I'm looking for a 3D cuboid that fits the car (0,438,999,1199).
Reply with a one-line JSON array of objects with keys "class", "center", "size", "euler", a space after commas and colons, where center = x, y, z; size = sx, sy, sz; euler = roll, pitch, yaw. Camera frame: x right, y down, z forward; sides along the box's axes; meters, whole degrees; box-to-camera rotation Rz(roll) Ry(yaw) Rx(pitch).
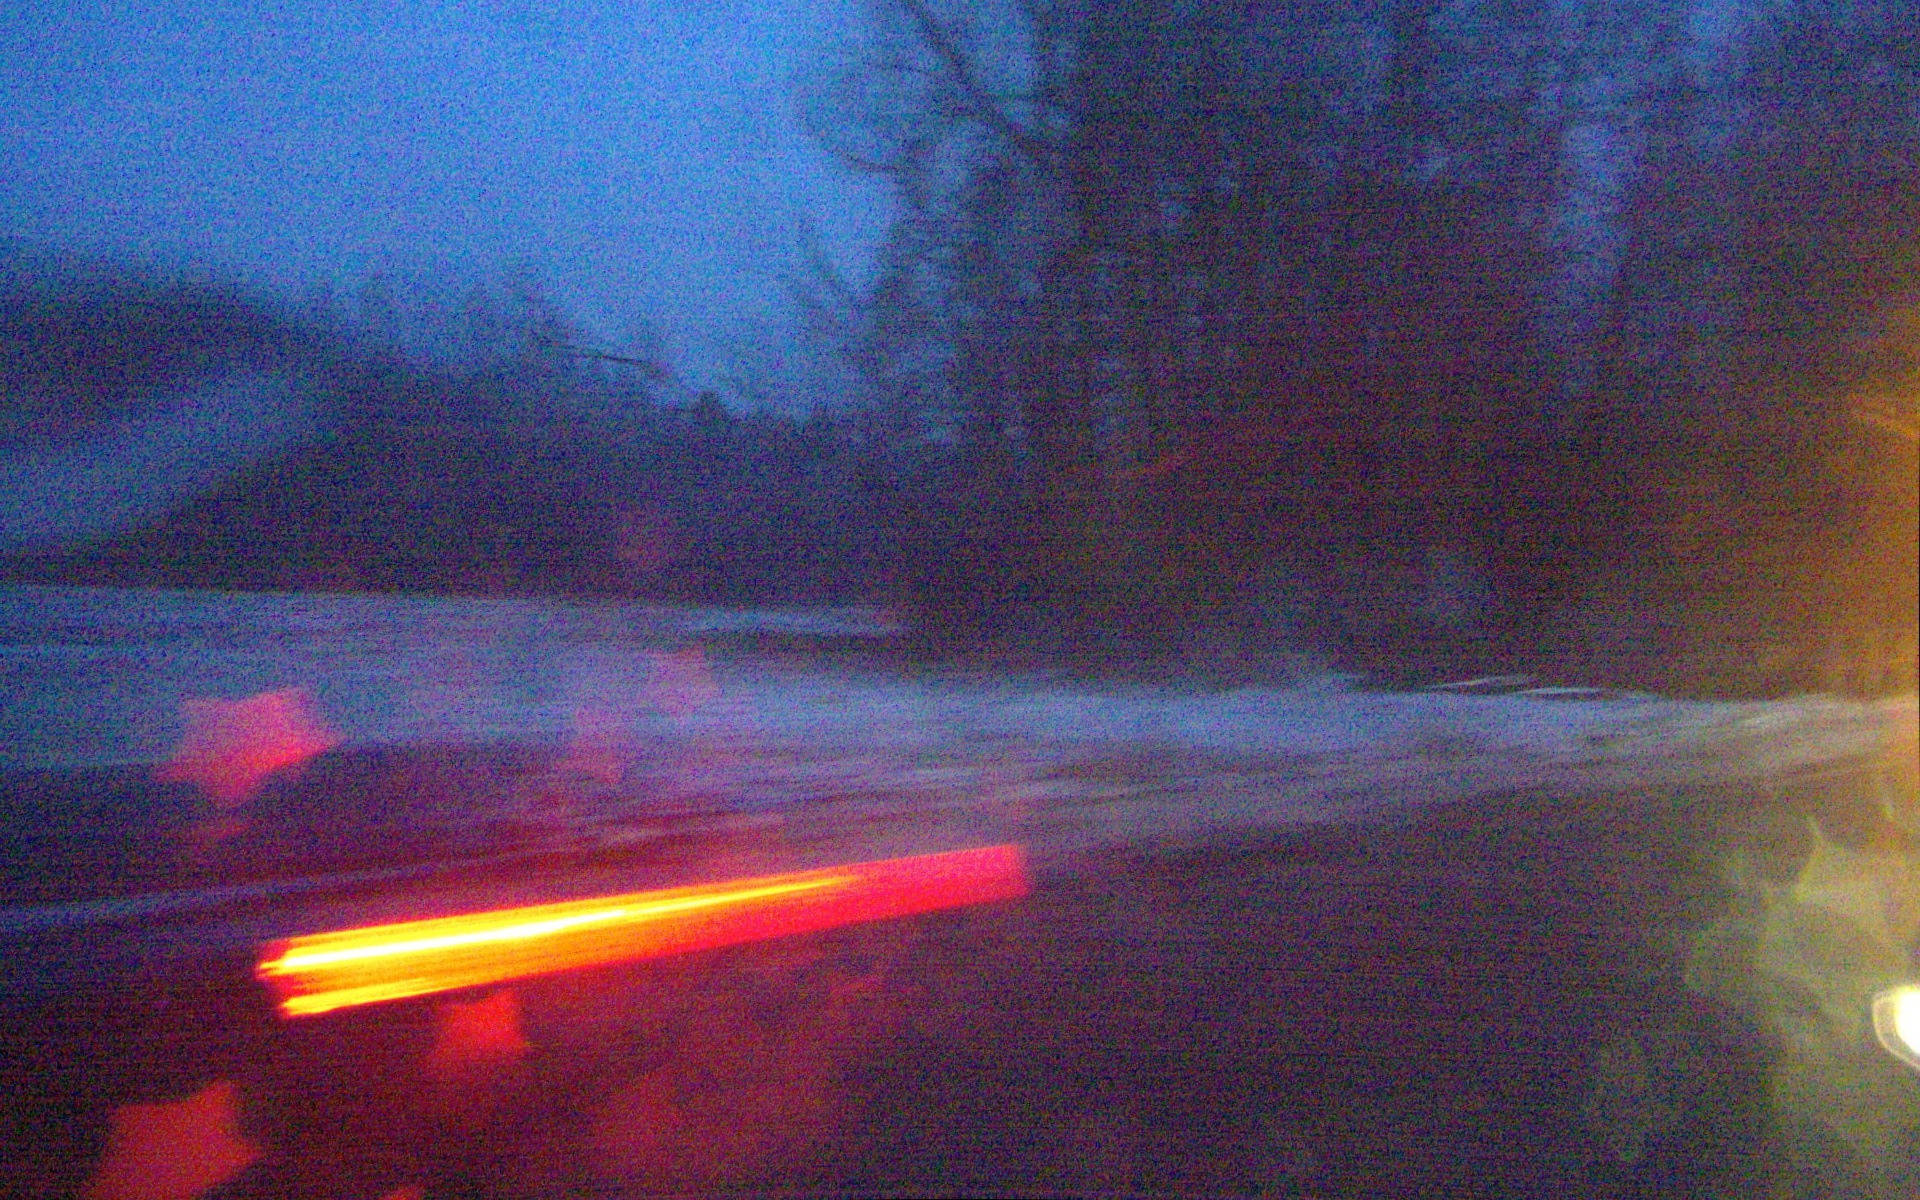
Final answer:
[{"class": "car", "center": [-2.200, 0.502, 1.734], "size": [4.156, 1.495, 1.904], "euler": [2, 1, -32]}]
